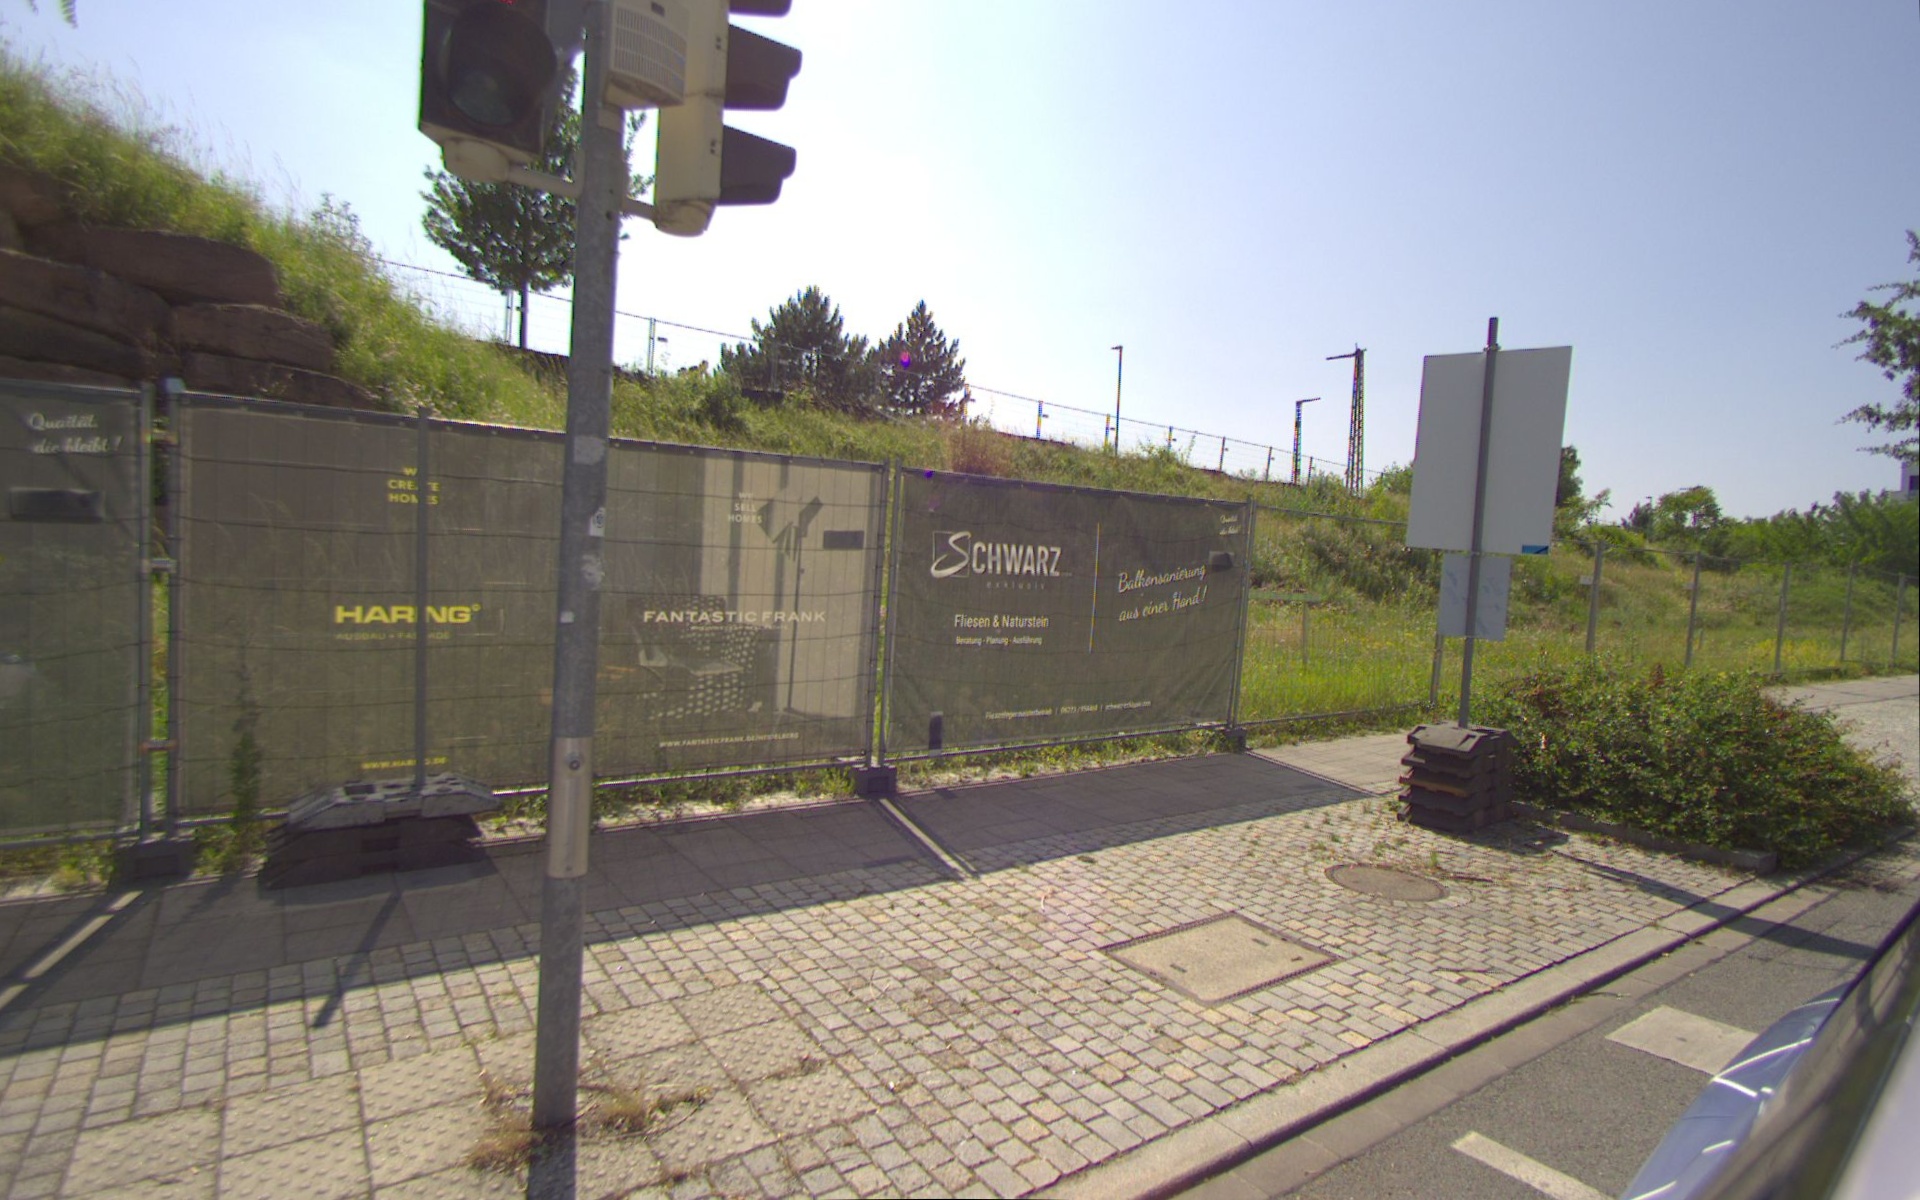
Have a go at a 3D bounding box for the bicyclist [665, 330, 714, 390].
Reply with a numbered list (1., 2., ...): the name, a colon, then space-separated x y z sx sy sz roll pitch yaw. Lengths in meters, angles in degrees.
1. bicyclist: -7.782 -6.866 29.088 1.045 1.405 0.950 0 1 -44

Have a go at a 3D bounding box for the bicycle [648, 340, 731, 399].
1. bicycle: -7.773 -6.607 29.100 2.139 1.228 0.935 0 1 -45
